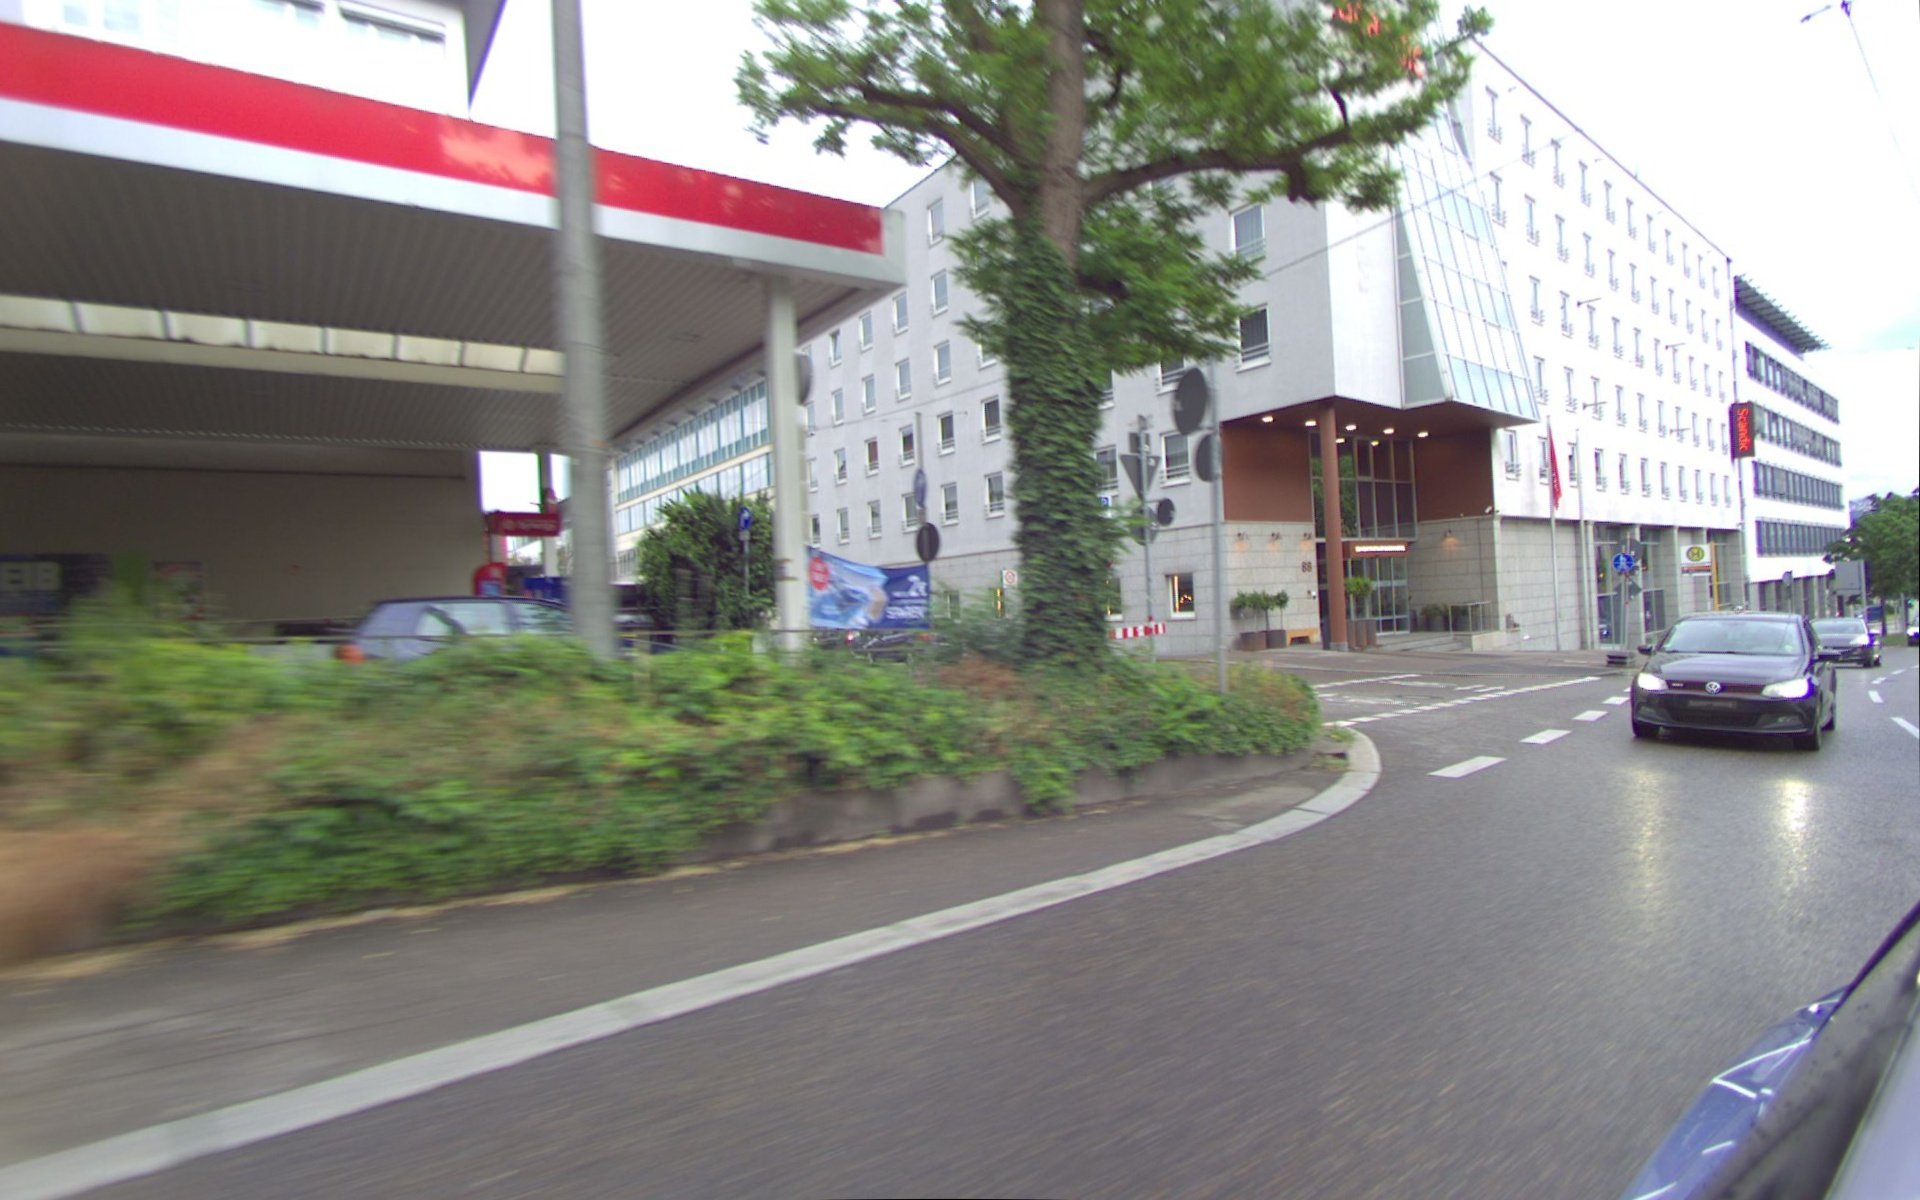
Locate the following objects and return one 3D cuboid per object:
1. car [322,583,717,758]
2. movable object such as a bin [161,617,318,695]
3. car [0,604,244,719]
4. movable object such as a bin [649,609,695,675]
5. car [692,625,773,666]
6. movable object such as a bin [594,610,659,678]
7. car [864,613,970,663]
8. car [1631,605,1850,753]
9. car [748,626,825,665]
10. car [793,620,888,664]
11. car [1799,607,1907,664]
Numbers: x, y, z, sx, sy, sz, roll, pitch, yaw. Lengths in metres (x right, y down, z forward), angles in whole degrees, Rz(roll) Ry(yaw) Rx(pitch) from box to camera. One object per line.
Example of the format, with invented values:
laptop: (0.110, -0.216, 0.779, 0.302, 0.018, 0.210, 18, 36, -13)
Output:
car: (-4.838, 0.644, 11.261, 3.790, 1.644, 1.779, -1, 0, -32)
movable object such as a bin: (-14.268, 1.085, 20.141, 2.460, 1.444, 1.166, 0, -2, -35)
car: (-13.164, 0.921, 15.150, 3.924, 1.530, 1.799, -1, -3, -34)
movable object such as a bin: (-7.101, 1.036, 24.975, 0.896, 1.586, 0.766, 1, -3, -35)
car: (-10.780, 2.159, 47.726, 1.825, 1.815, 4.607, 1, -4, -39)
movable object such as a bin: (-8.014, 1.037, 24.338, 1.334, 1.586, 0.766, 0, -3, -35)
car: (-1.507, 1.301, 33.787, 1.765, 1.530, 4.000, 1, -4, -33)
car: (9.198, 0.778, 11.821, 1.673, 1.417, 3.788, 0, 0, 43)
car: (-7.363, 1.941, 42.646, 1.765, 1.530, 4.000, 1, -4, -33)
car: (-4.526, 1.611, 37.985, 1.766, 1.530, 3.996, 1, -4, -37)
car: (26.099, 1.024, 29.553, 3.641, 1.460, 1.749, -1, -4, -40)
